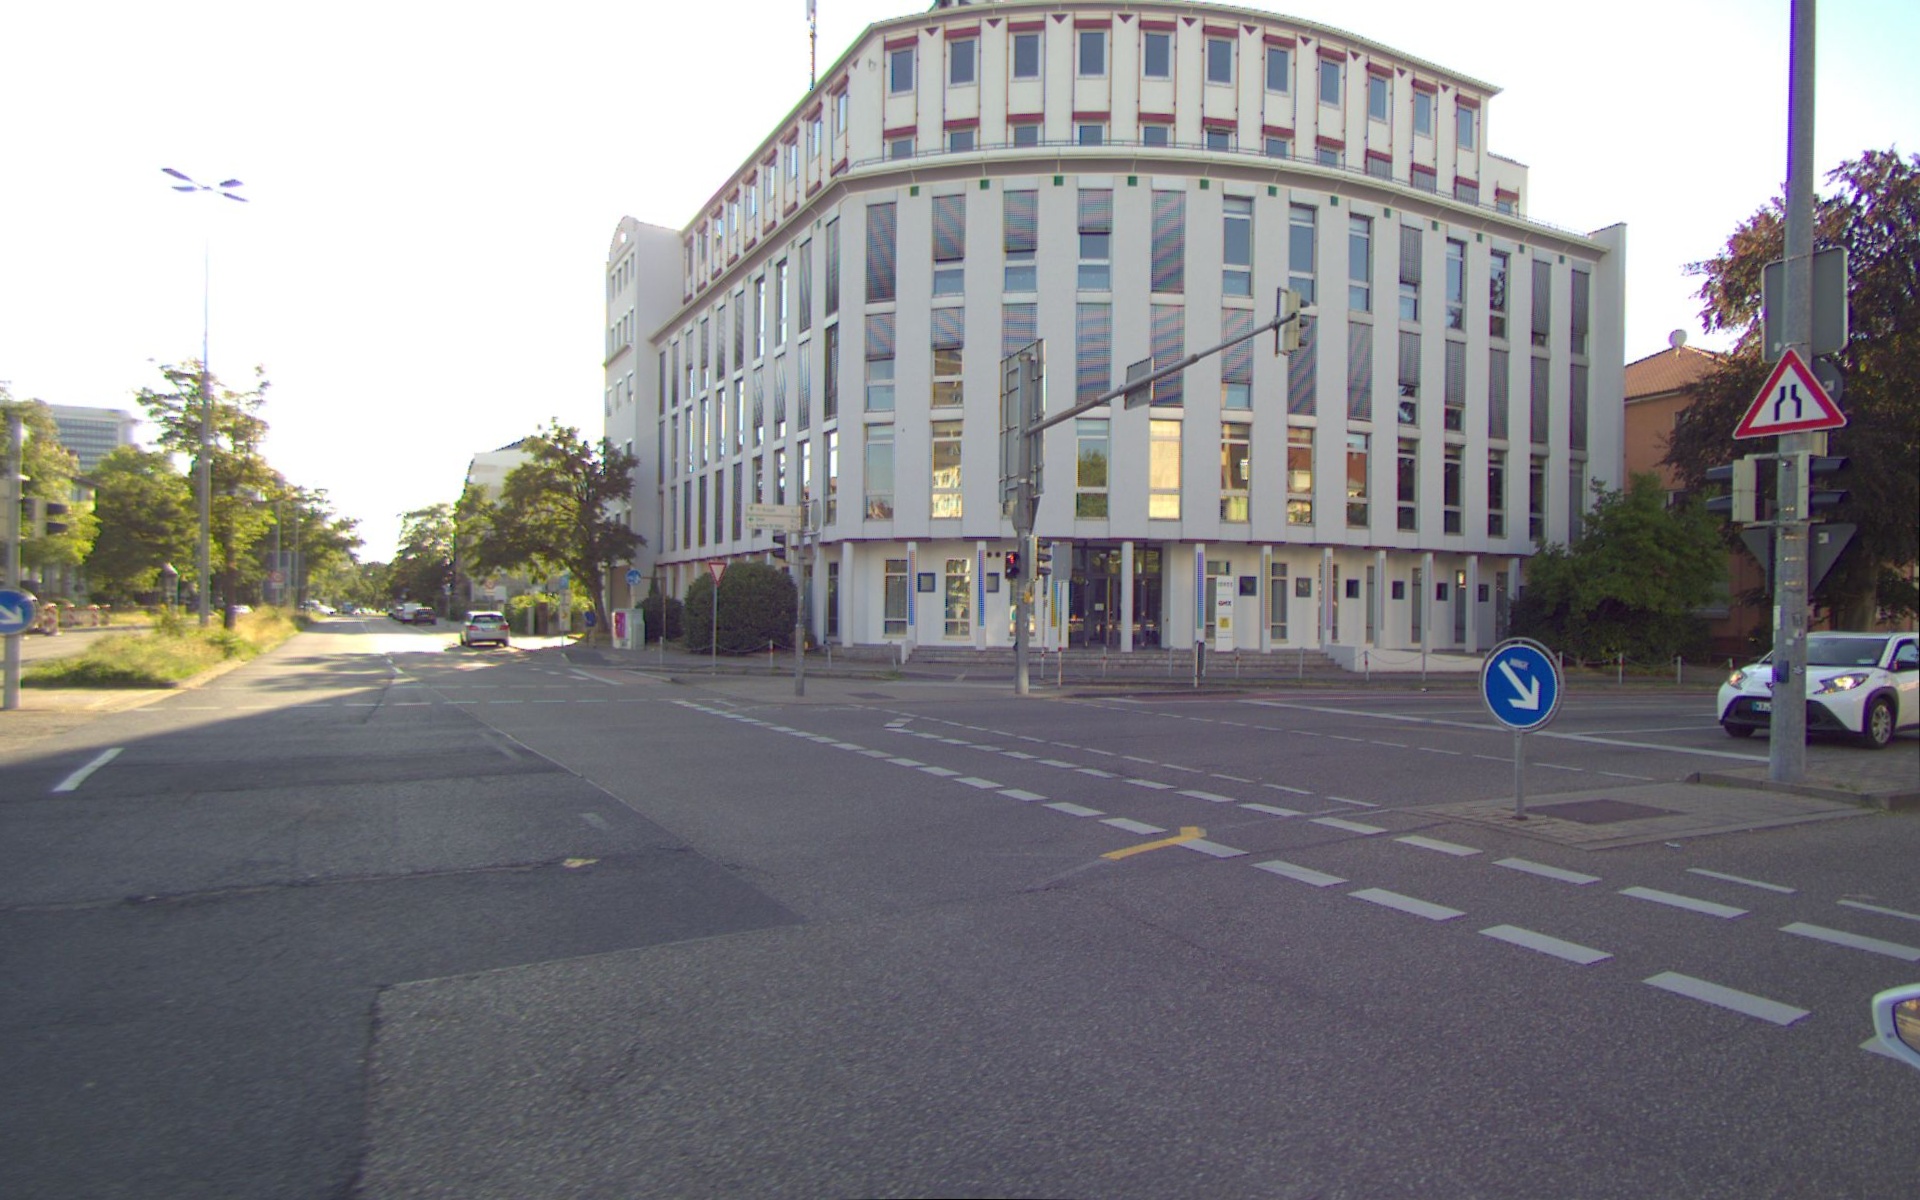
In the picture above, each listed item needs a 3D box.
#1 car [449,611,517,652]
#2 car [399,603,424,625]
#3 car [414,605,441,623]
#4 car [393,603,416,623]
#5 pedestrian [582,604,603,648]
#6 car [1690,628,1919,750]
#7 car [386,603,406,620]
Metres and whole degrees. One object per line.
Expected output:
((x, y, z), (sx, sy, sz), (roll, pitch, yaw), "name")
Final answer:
((-21.854, 1.392, 45.994), (1.983, 1.751, 3.956), (1, -1, -38), "car")
((-52.243, 1.306, 95.621), (1.977, 2.040, 3.967), (1, 0, -31), "car")
((-47.401, 1.220, 89.373), (1.977, 1.506, 3.967), (1, -1, -31), "car")
((-57.859, 1.336, 104.588), (1.977, 2.040, 3.967), (1, 0, -31), "car")
((-15.423, 1.098, 42.158), (0.691, 1.814, 0.477), (1, 0, -37), "pedestrian")
((12.358, 1.151, 14.126), (3.850, 1.480, 1.821), (1, 0, -26), "car")
((-67.308, 1.390, 119.840), (1.977, 2.040, 3.967), (1, 0, -31), "car")
